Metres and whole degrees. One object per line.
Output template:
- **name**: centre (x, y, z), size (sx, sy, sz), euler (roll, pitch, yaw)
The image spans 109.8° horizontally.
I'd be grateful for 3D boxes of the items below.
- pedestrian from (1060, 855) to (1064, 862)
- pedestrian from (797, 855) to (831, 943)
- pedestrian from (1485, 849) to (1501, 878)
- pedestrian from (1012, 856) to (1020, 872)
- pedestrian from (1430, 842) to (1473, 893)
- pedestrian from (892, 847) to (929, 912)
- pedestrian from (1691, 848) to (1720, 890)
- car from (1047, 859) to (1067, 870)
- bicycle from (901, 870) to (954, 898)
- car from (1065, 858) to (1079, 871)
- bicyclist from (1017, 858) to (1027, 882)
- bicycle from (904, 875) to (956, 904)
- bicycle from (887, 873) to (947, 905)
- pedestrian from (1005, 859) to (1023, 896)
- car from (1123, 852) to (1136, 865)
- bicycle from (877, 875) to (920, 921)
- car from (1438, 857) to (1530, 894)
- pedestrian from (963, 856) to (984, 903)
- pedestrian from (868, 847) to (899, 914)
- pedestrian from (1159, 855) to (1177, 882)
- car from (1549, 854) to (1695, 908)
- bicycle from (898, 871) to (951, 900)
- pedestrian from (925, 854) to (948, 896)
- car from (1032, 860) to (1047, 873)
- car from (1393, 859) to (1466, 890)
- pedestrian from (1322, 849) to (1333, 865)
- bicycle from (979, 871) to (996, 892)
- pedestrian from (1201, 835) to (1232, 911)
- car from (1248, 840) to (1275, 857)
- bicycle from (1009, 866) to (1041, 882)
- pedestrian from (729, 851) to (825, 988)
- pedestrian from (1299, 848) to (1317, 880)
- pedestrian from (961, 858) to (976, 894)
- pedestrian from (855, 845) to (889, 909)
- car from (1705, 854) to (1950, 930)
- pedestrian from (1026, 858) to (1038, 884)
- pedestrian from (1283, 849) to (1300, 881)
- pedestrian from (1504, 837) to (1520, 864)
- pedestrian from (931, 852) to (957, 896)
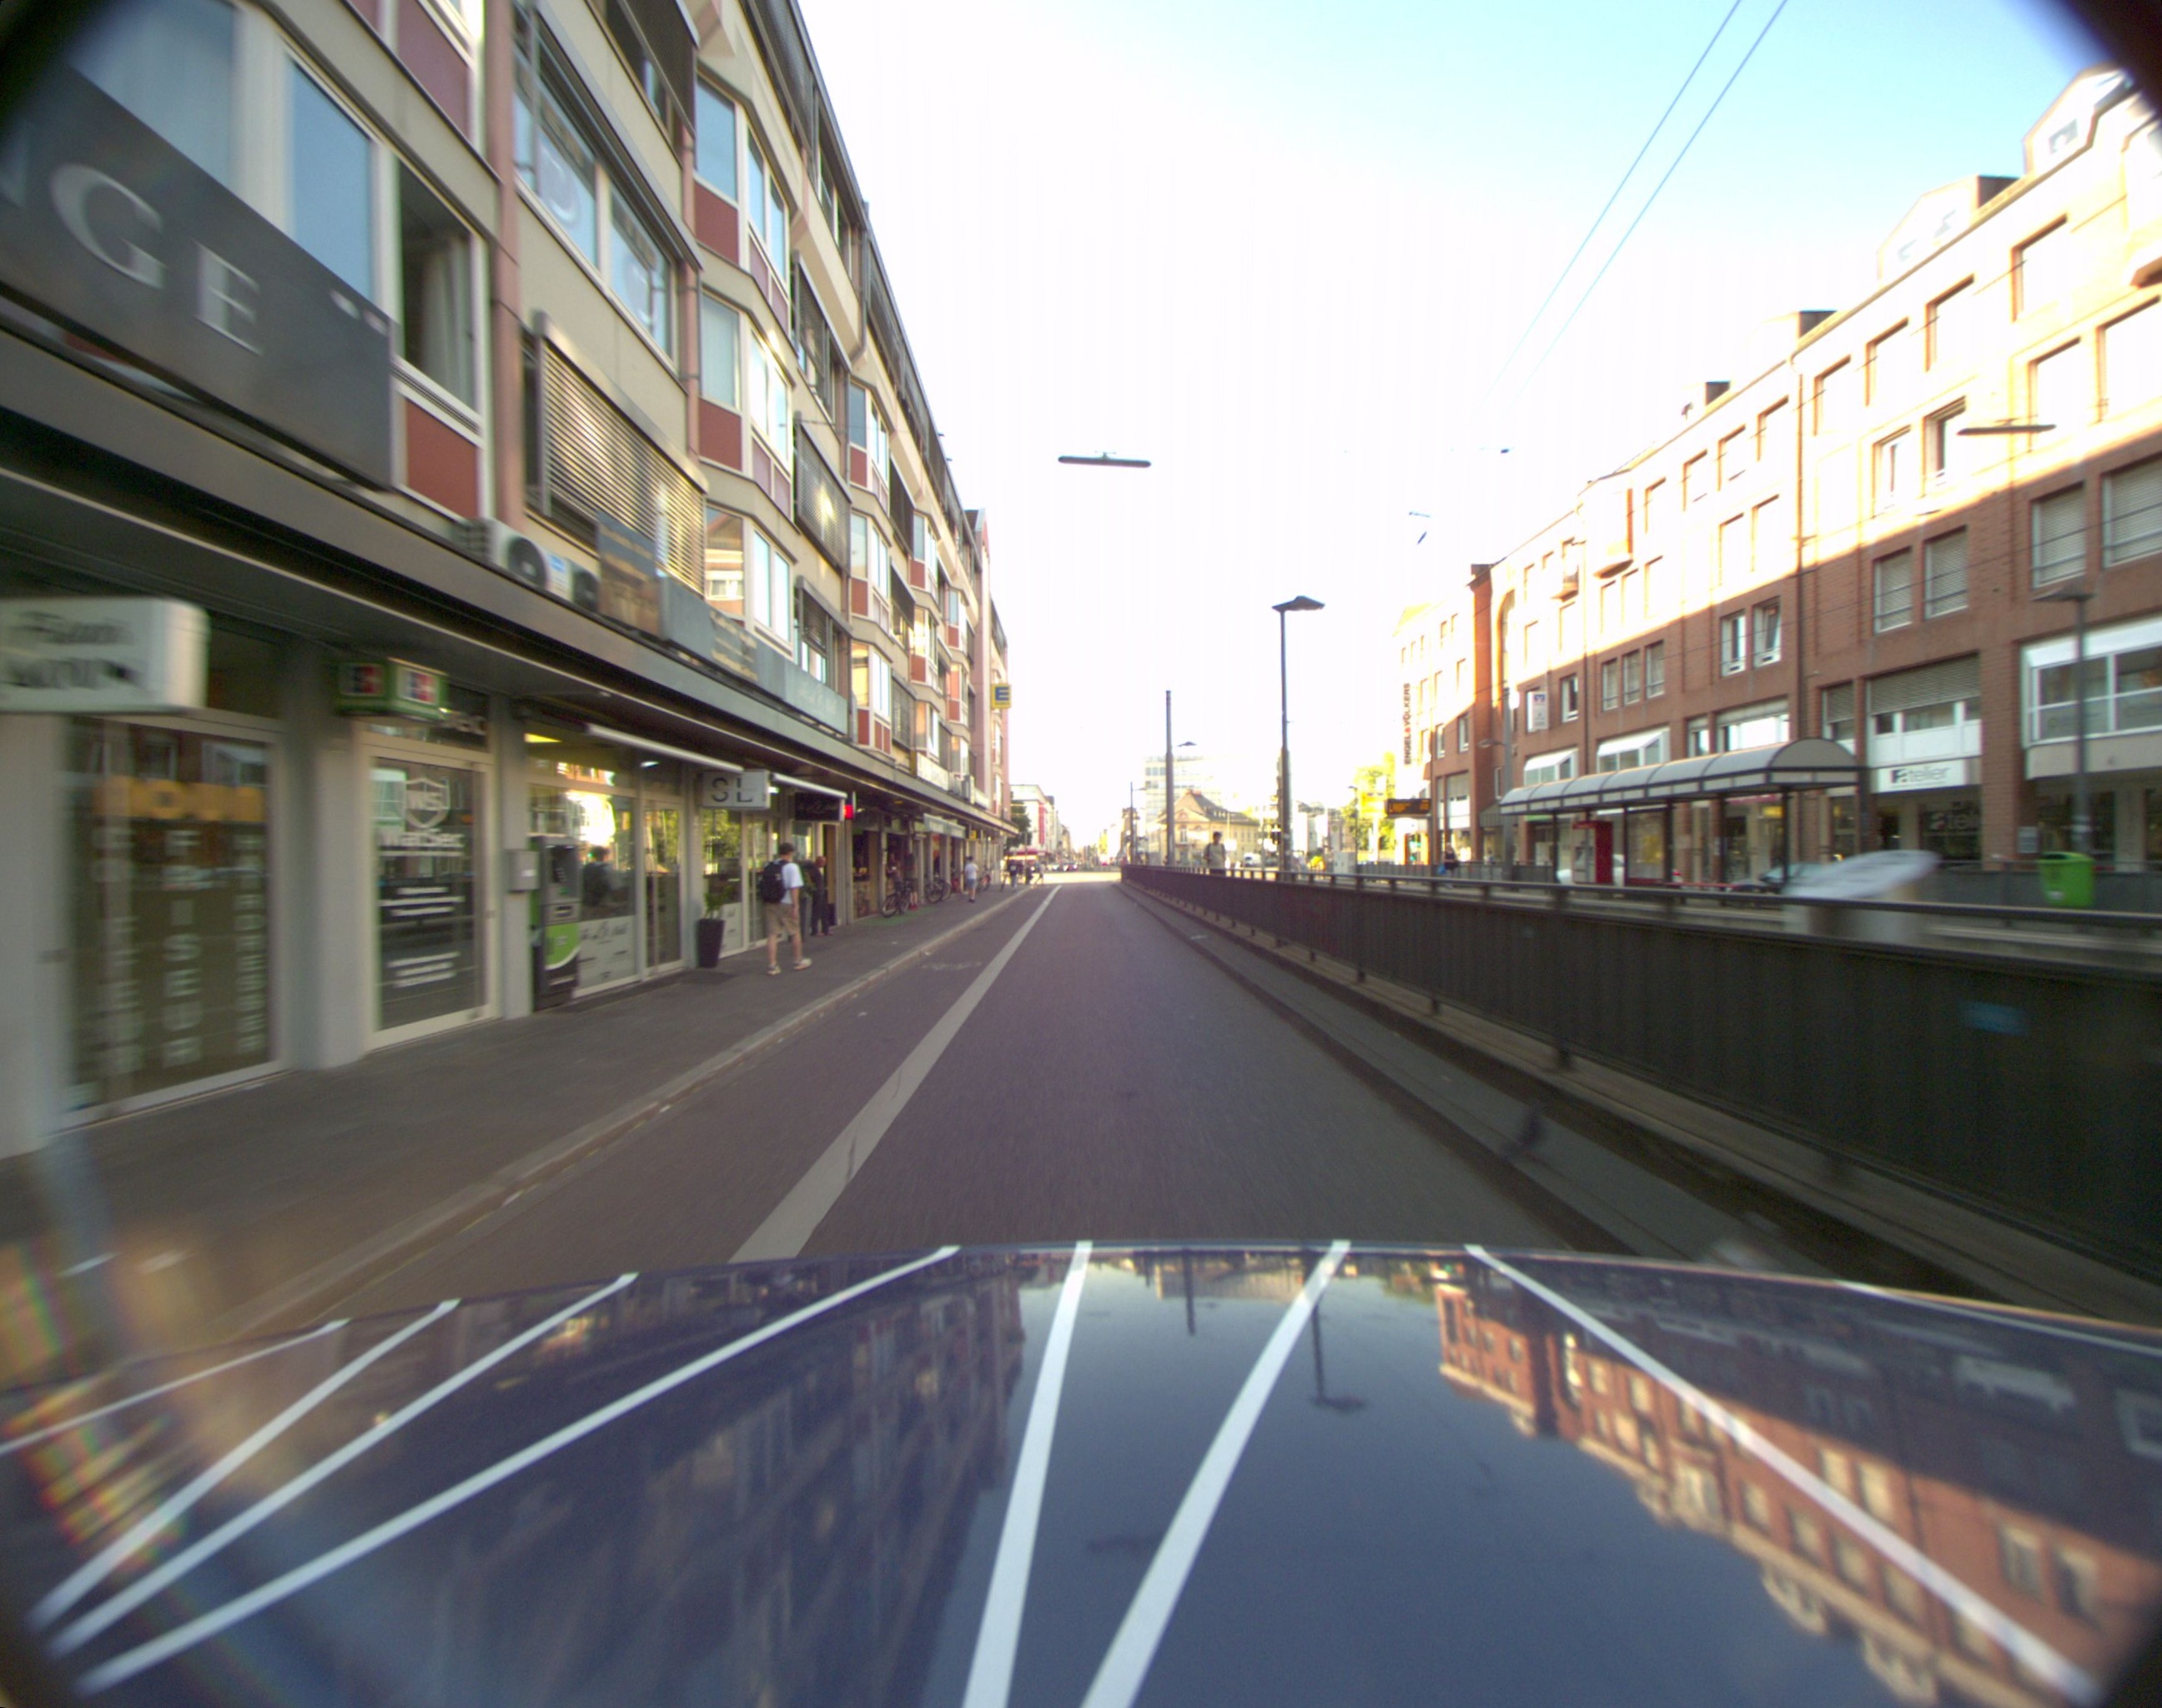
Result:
- **pedestrian**: centre (-3.571, 0.868, 143.199), size (0.597, 1.434, 0.613), euler (-1, 0, -12)
- **pedestrian**: centre (-5.117, 0.845, 14.570), size (0.543, 1.664, 0.468), euler (0, 1, -9)
- **pedestrian**: centre (23.985, 0.559, 44.246), size (0.613, 1.652, 0.637), euler (-1, 1, -1)
- **pedestrian**: centre (-8.256, 1.244, 96.552), size (0.747, 2.002, 1.070), euler (-3, 1, -13)
- **pedestrian**: centre (12.184, 0.433, 25.004), size (0.913, 1.652, 0.967), euler (-1, 1, -1)
- **pedestrian**: centre (-5.023, 0.735, 22.443), size (0.917, 1.856, 0.779), euler (1, 1, -3)
- **pedestrian**: centre (24.757, 0.582, 30.127), size (0.613, 1.652, 0.637), euler (-1, 1, -5)
- **car**: centre (-3.916, 1.770, 124.081), size (1.974, 1.664, 4.869), euler (-2, -1, -17)
- **bicycle**: centre (-5.975, 1.175, 29.641), size (1.929, 1.054, 0.576), euler (1, 0, -3)
- **car**: centre (-1.263, 1.513, 109.674), size (1.971, 1.664, 4.875), euler (-2, -1, 0)
- **bicyclist**: centre (-4.140, 1.110, 53.030), size (0.637, 1.668, 0.768), euler (-1, 1, -4)
- **bicycle**: centre (-5.405, 1.261, 27.215), size (1.734, 0.968, 0.506), euler (2, 1, 5)
- **bicycle**: centre (-5.573, 1.192, 25.854), size (1.929, 1.054, 0.576), euler (1, 0, 0)
- **pedestrian**: centre (-3.293, 1.151, 37.413), size (0.807, 1.805, 0.733), euler (-1, 0, -3)
- **car**: centre (9.929, 0.875, 155.087), size (2.540, 2.440, 5.425), euler (-2, -1, 5)
- **bicycle**: centre (-4.774, 1.137, 20.012), size (0.659, 1.060, 1.794), euler (4, 0, -1)
- **car**: centre (18.273, 0.945, 34.705), size (1.897, 1.590, 4.197), euler (0, -1, -1)
- **pedestrian**: centre (-3.871, 0.900, 27.357), size (0.634, 1.664, 0.771), euler (0, 1, 0)
- **pedestrian**: centre (-5.586, 0.729, 21.486), size (0.780, 1.856, 0.686), euler (1, 1, -20)
- **pedestrian**: centre (5.974, 0.964, 52.151), size (0.812, 1.793, 0.859), euler (-4, 1, -29)
- **car**: centre (18.238, 0.850, 25.900), size (1.914, 1.585, 4.289), euler (1, 1, 1)
- **bicycle**: centre (-5.957, 1.183, 28.981), size (1.929, 1.054, 0.576), euler (1, 0, -3)
- **pedestrian**: centre (-5.848, 0.834, 30.774), size (0.779, 1.654, 0.917), euler (1, 1, -2)
- **car**: centre (-5.736, 1.783, 106.471), size (1.972, 1.664, 4.874), euler (-2, -1, -3)
- **car**: centre (18.358, 1.064, 40.268), size (1.906, 1.520, 4.120), euler (0, -1, -1)
- **pedestrian**: centre (32.450, 0.413, 99.909), size (1.073, 2.002, 0.989), euler (-3, 1, 4)
- **bicycle**: centre (-4.673, 1.362, 37.950), size (0.678, 0.971, 1.842), euler (4, 0, -3)
- **pedestrian**: centre (3.227, 0.447, 18.117), size (0.584, 1.781, 0.606), euler (-1, 1, -2)
- **car**: centre (33.829, -1.054, 142.207), size (2.535, 3.031, 6.387), euler (2, 2, 37)
- **bicycle**: centre (-3.896, 1.390, 53.045), size (2.176, 1.117, 0.768), euler (-1, 1, -4)
- **pedestrian**: centre (-4.044, 0.832, 10.182), size (0.800, 1.712, 1.061), euler (2, 1, 1)
- **pedestrian**: centre (13.037, 0.573, 43.653), size (0.859, 1.756, 0.812), euler (-3, 1, 15)
- **pedestrian**: centre (-4.928, 0.958, 33.306), size (0.407, 1.586, 0.462), euler (3, 1, 28)
- **pedestrian**: centre (-6.229, 0.663, 22.634), size (0.781, 1.856, 0.685), euler (0, 1, -31)
- **car**: centre (18.395, 0.846, 19.080), size (1.914, 1.585, 4.289), euler (1, 1, 1)
- **pedestrian**: centre (-3.304, 1.132, 51.120), size (0.637, 1.652, 0.768), euler (3, 0, -9)
- **pedestrian**: centre (12.156, 0.627, 43.875), size (0.859, 1.756, 0.812), euler (-3, 1, 14)
- **pedestrian**: centre (27.056, -0.219, 47.722), size (0.613, 1.652, 0.637), euler (-1, 1, -1)
- **pedestrian**: centre (-5.650, 0.814, 31.245), size (0.734, 1.805, 0.805), euler (-1, 0, -37)
